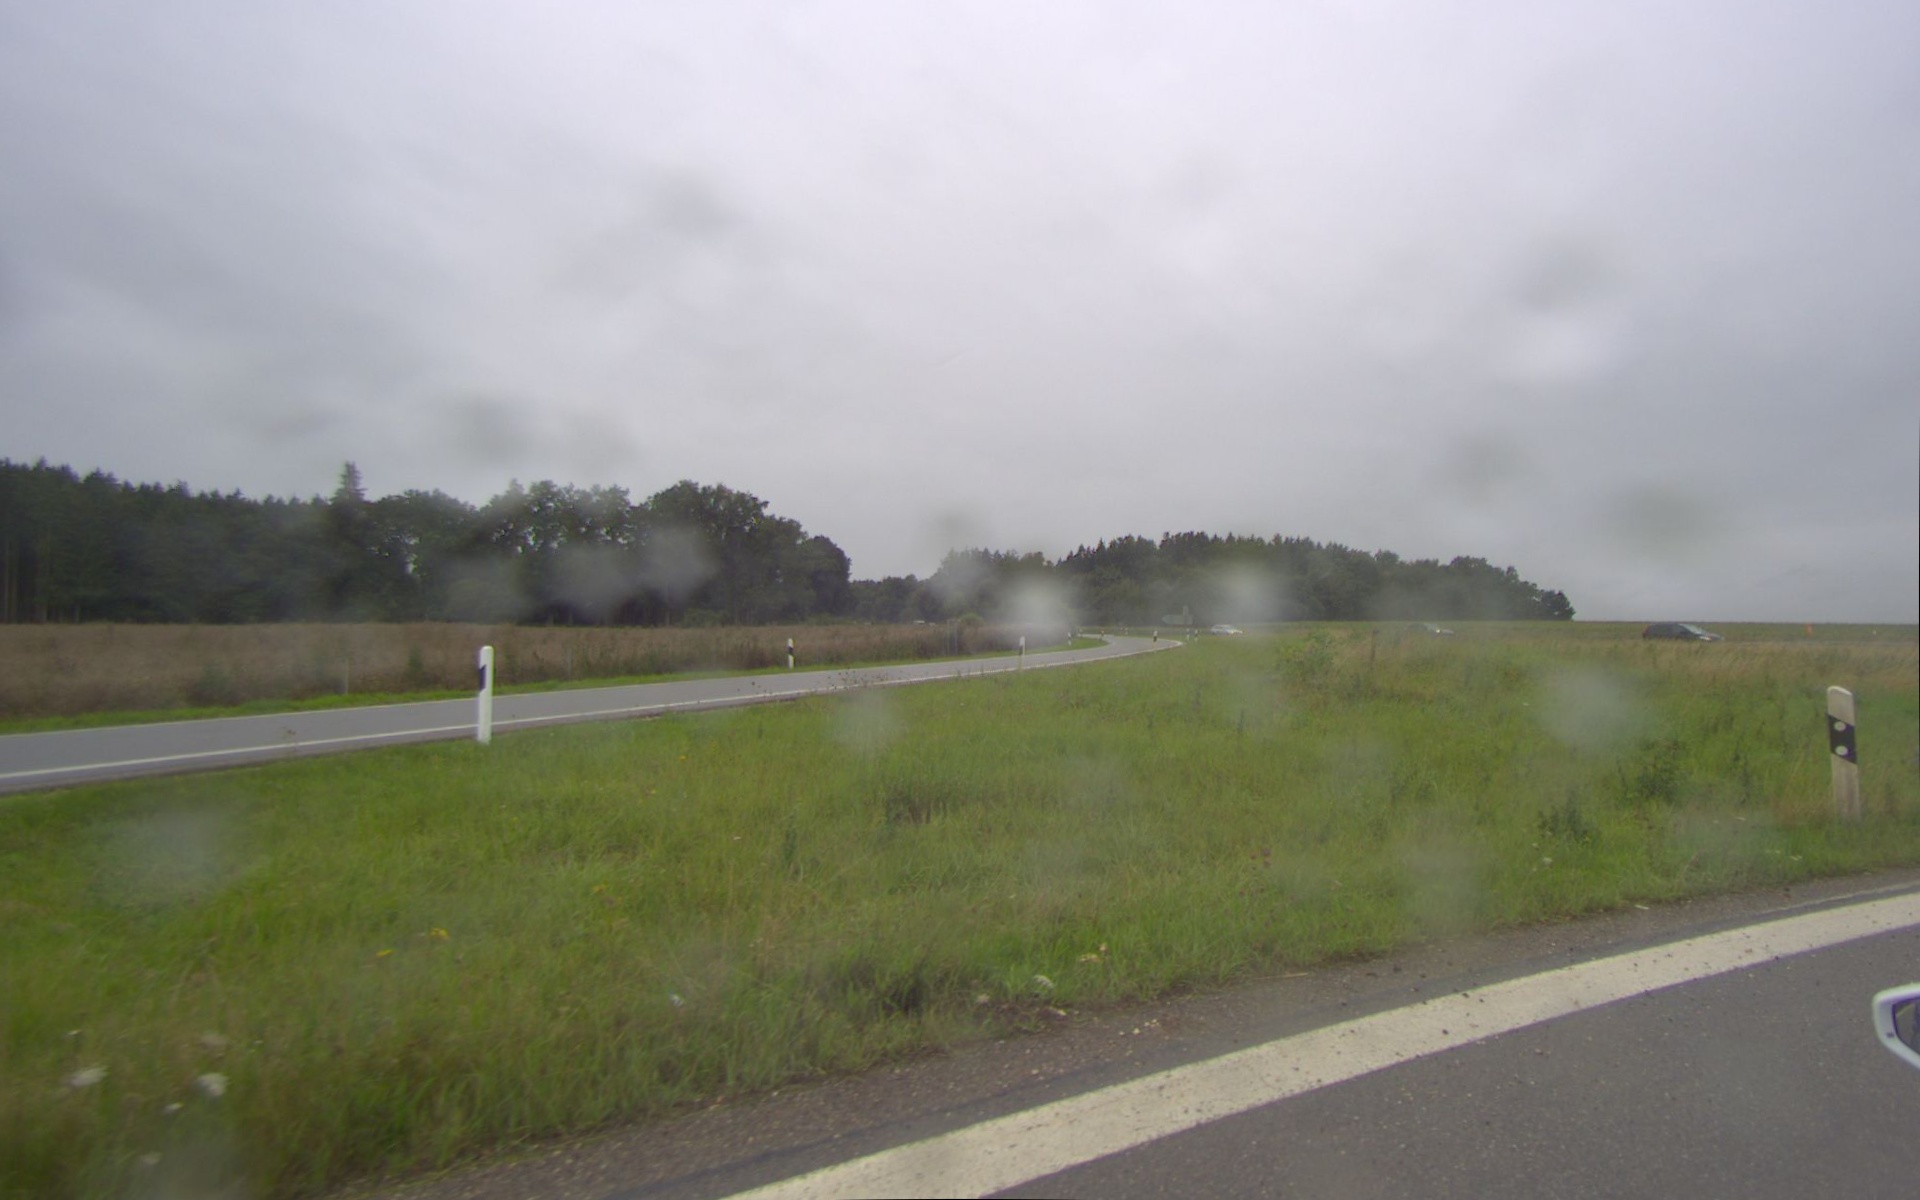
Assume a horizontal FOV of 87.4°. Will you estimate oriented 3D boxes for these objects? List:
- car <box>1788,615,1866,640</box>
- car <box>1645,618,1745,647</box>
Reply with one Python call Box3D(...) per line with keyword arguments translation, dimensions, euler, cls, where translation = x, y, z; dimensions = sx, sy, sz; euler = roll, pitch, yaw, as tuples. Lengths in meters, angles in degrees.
Box3D(translation=(63.554, 2.047, 73.706), dimensions=(1.709, 1.759, 3.983), euler=(0, -2, -19), cls="car")
Box3D(translation=(44.382, 1.950, 60.775), dimensions=(2.117, 1.658, 4.580), euler=(0, -1, -16), cls="car")
